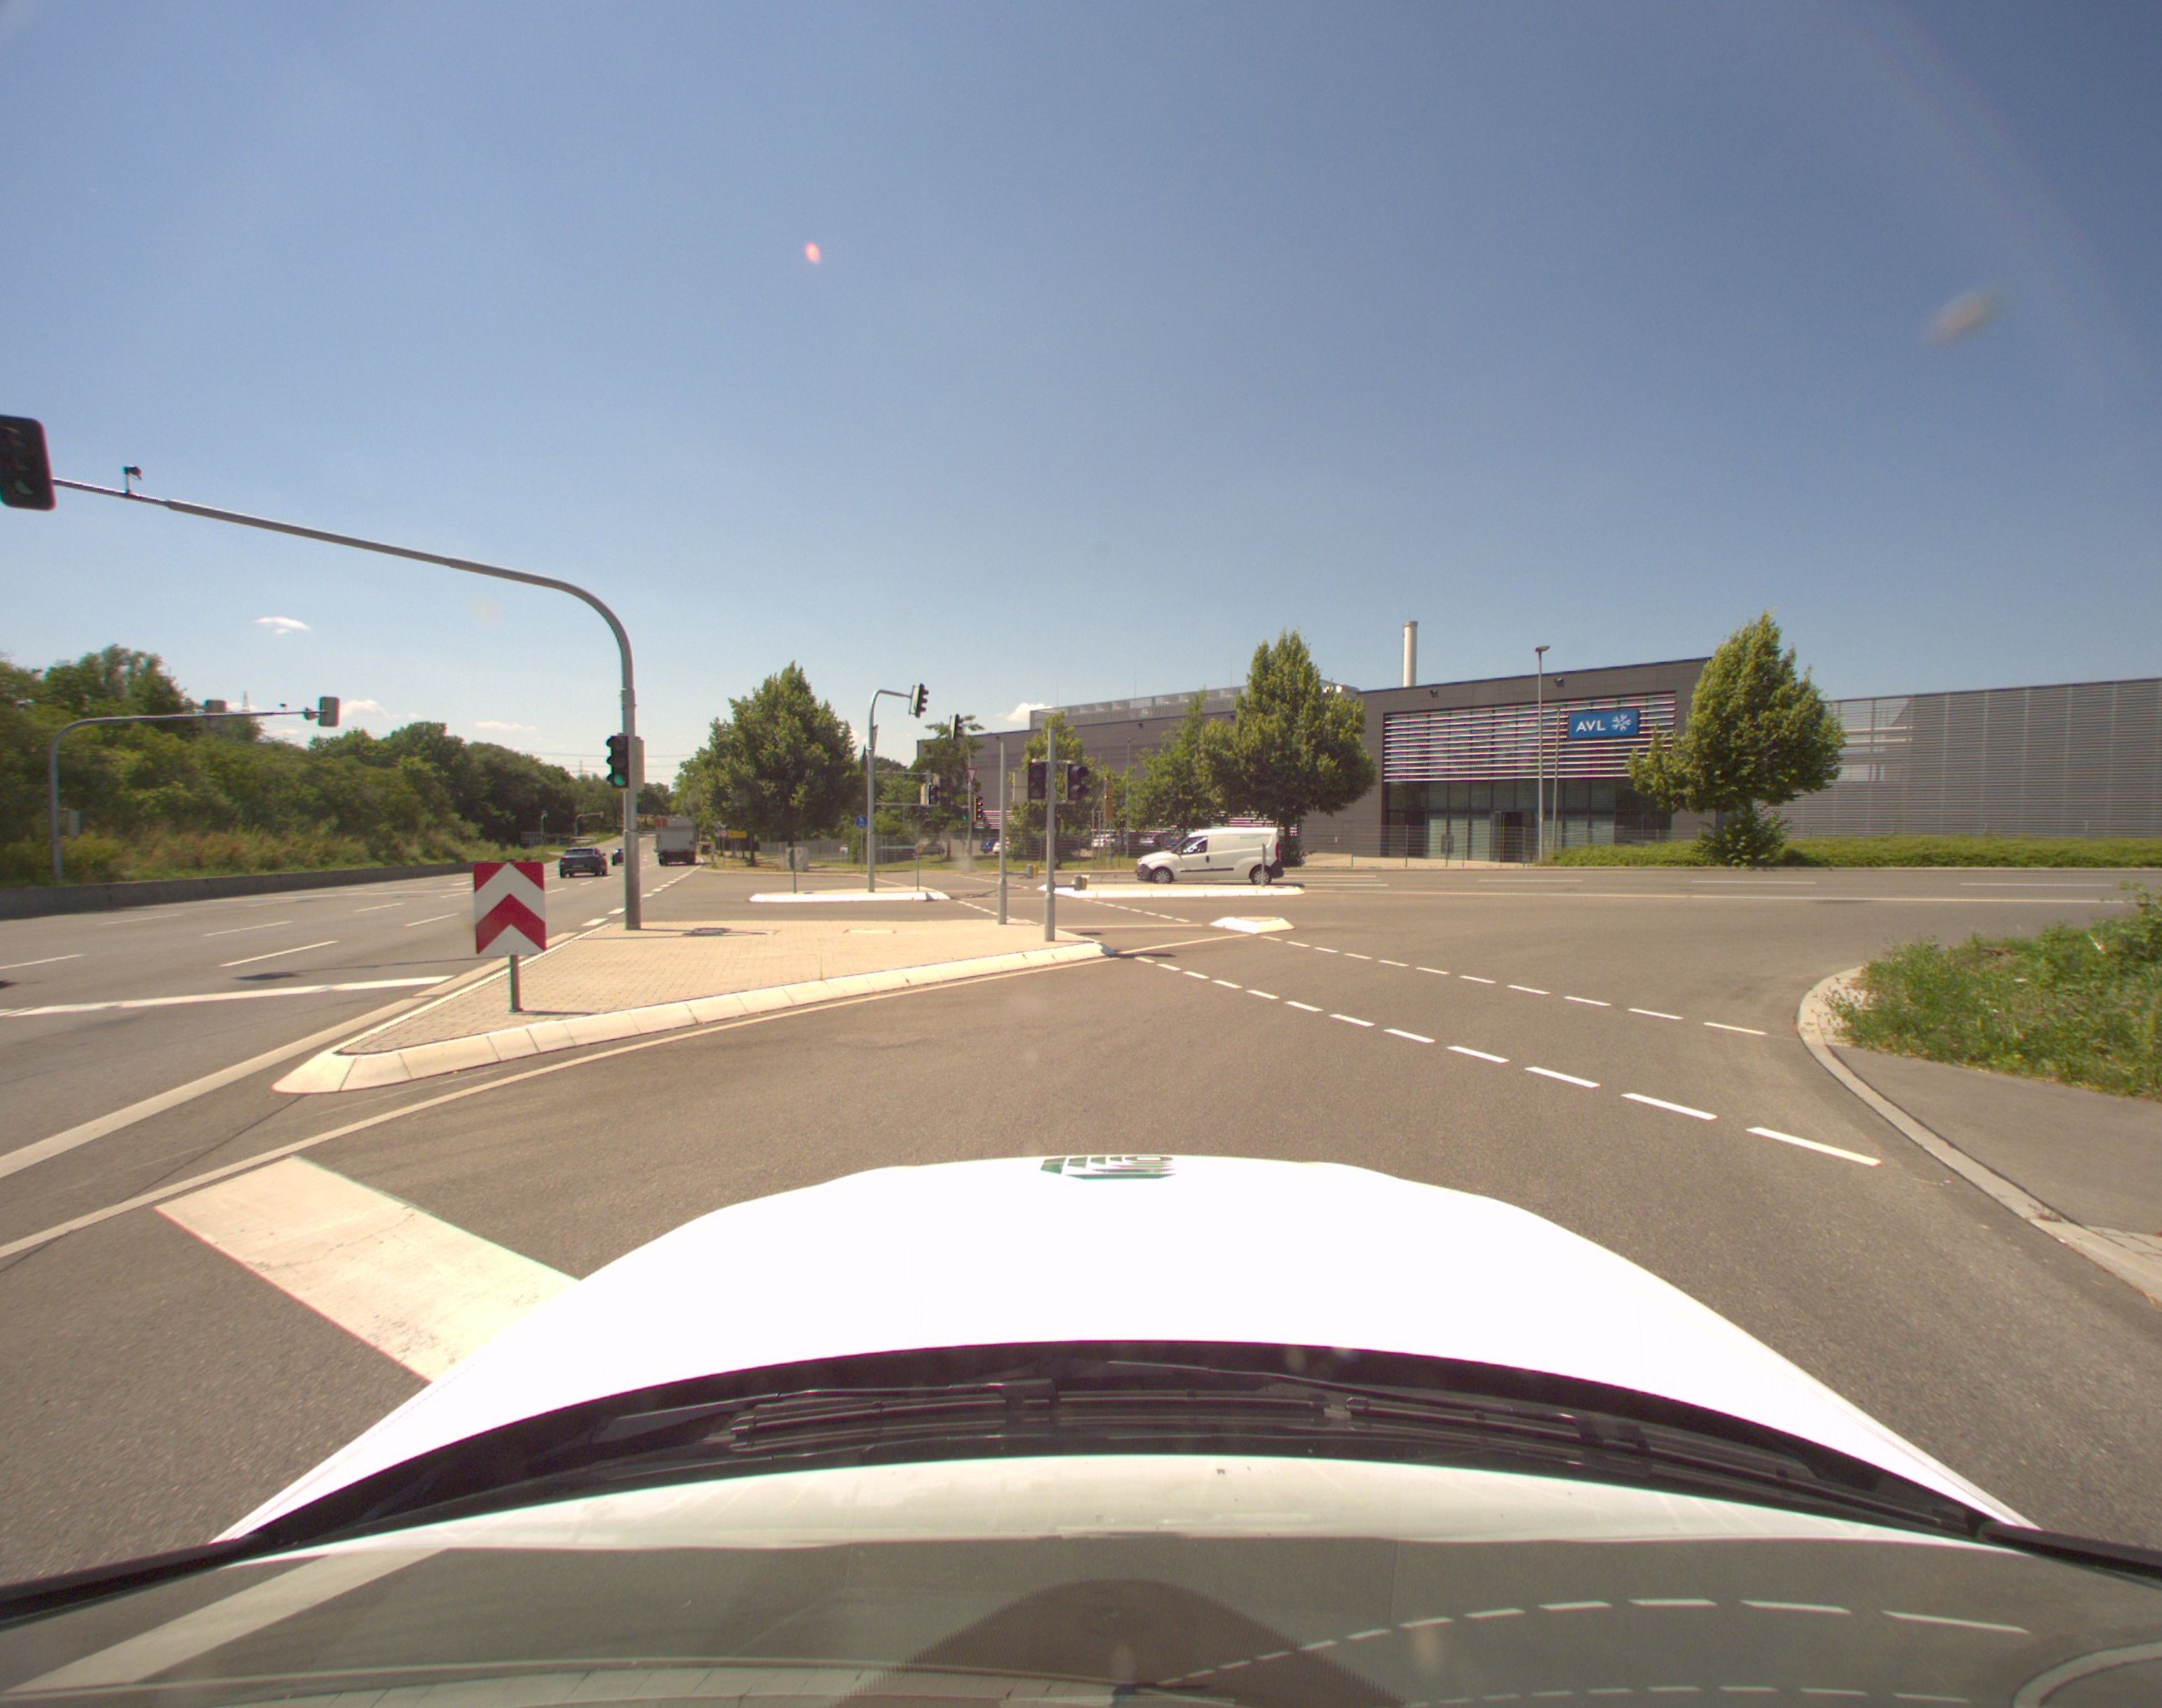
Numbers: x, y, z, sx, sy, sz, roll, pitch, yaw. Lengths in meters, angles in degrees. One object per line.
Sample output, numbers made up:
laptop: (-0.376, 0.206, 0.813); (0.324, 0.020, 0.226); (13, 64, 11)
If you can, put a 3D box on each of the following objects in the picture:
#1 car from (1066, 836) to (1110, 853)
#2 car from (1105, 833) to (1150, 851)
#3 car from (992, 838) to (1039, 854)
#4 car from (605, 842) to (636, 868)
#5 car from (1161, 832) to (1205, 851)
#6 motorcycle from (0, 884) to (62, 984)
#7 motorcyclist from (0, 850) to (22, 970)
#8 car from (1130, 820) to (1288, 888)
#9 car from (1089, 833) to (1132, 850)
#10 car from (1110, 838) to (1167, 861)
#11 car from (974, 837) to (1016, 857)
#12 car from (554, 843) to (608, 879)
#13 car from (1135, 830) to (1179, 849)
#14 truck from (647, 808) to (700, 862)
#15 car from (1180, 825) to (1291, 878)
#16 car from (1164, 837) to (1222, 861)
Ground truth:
car: (0.693, -0.878, 75.275); (1.974, 1.486, 4.026); (-2, 0, 38)
car: (4.145, -1.085, 72.025); (1.974, 1.486, 4.026); (-2, 0, 38)
car: (-5.156, -0.647, 64.048); (1.595, 1.165, 3.658); (-2, 0, 38)
car: (-38.047, 0.089, 67.373); (2.005, 2.013, 3.965); (-1, 0, -27)
car: (8.639, -1.052, 68.666); (1.796, 1.528, 4.026); (-2, 0, 38)
motorcycle: (-13.146, 0.987, 9.184); (0.861, 1.141, 2.161); (-1, 1, -12)
motorcyclist: (-13.154, 0.672, 9.205); (0.873, 1.412, 1.170); (-1, 0, -12)
car: (4.117, -0.042, 26.348); (4.826, 1.941, 2.006); (1, 6, 9)
car: (2.703, -1.115, 73.888); (1.749, 1.460, 4.026); (-2, 0, 38)
car: (4.066, -0.313, 57.082); (1.974, 1.486, 4.026); (-2, 0, 38)
car: (-8.869, -0.713, 84.214); (1.974, 2.013, 4.026); (-2, 0, 38)
car: (-26.038, 0.356, 42.544); (2.004, 1.750, 3.965); (-1, 0, -27)
car: (6.612, -1.262, 70.547); (1.895, 1.517, 4.026); (-2, 0, 38)
truck: (-30.965, -1.370, 62.086); (3.281, 3.840, 6.153); (-1, 0, -24)
car: (5.636, -0.117, 29.938); (3.829, 1.706, 2.006); (1, 6, 9)
car: (7.359, -0.346, 53.254); (1.974, 1.486, 4.026); (-2, 0, 38)
